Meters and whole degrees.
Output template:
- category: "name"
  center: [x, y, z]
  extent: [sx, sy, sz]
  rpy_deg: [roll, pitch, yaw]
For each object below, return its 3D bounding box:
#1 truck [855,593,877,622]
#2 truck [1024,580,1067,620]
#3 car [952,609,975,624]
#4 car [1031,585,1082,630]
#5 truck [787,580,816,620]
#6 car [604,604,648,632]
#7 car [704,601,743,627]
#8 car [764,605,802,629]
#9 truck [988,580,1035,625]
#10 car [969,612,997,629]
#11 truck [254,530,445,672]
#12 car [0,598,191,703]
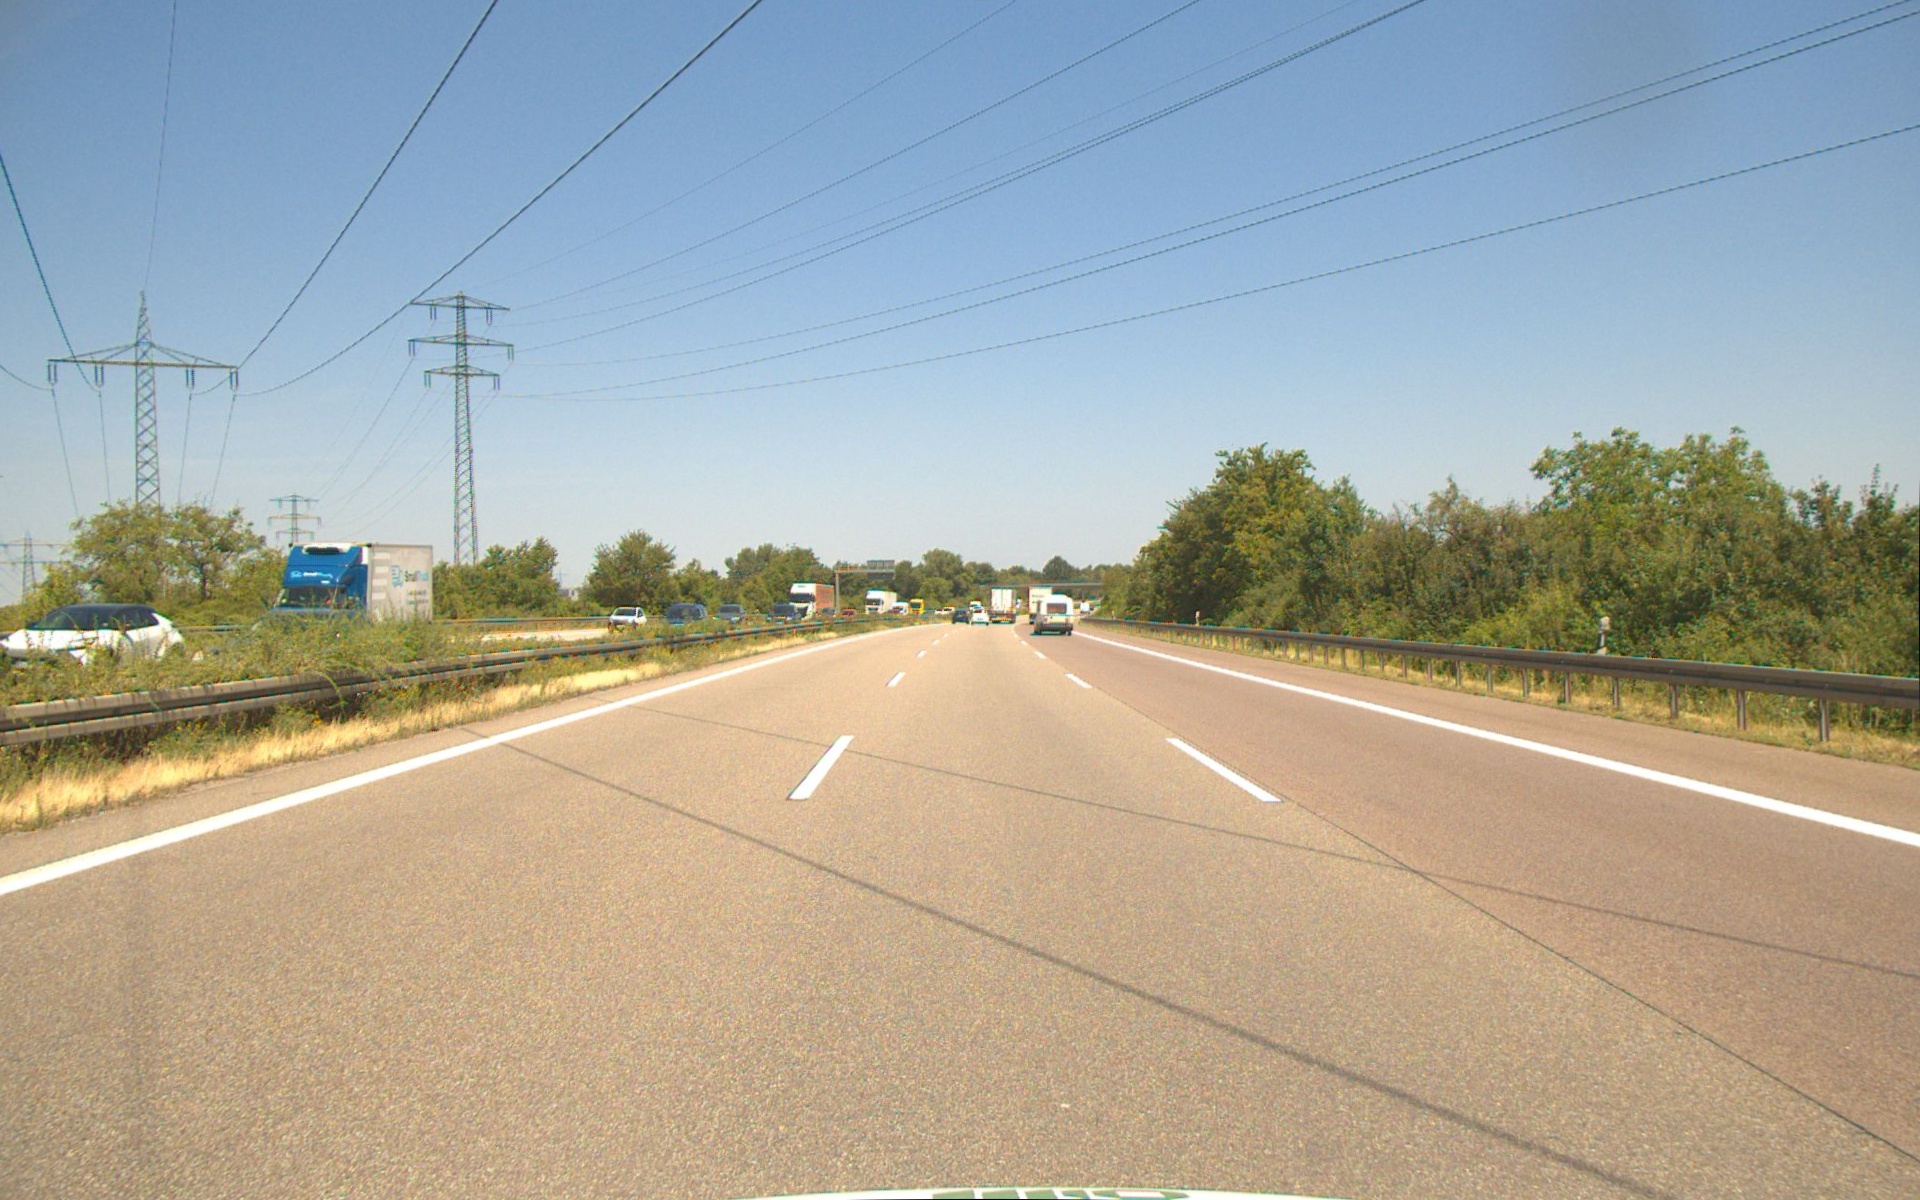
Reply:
- category: "truck"
  center: [-13.577, 1.072, 239.635]
  extent: [2.772, 4.153, 5.167]
  rpy_deg: [0, 0, 2]
- category: "truck"
  center: [9.804, -0.111, 188.638]
  extent: [3.113, 4.379, 16.031]
  rpy_deg: [1, 1, 9]
- category: "car"
  center: [0.389, 1.748, 176.551]
  extent: [1.789, 1.574, 4.322]
  rpy_deg: [1, 0, 9]
- category: "car"
  center: [5.334, 0.363, 92.187]
  extent: [2.393, 2.362, 5.320]
  rpy_deg: [-1, 1, -1]
- category: "truck"
  center: [-16.689, -0.053, 174.156]
  extent: [2.430, 4.089, 4.603]
  rpy_deg: [0, 1, 2]
- category: "car"
  center: [-19.090, 1.038, 94.702]
  extent: [1.631, 1.559, 4.279]
  rpy_deg: [0, 0, 0]
- category: "car"
  center: [-15.658, 0.899, 109.804]
  extent: [1.953, 1.646, 4.411]
  rpy_deg: [0, 1, 0]
- category: "car"
  center: [-11.289, 1.071, 105.973]
  extent: [1.953, 1.460, 4.411]
  rpy_deg: [0, 1, 0]
- category: "truck"
  center: [6.237, 0.207, 197.783]
  extent: [3.588, 5.106, 16.031]
  rpy_deg: [1, 1, 9]
- category: "car"
  center: [2.224, 1.939, 157.250]
  extent: [1.789, 1.574, 4.322]
  rpy_deg: [1, 0, 13]
- category: "truck"
  center: [-19.230, -0.038, 52.852]
  extent: [2.403, 4.045, 9.670]
  rpy_deg: [-2, 1, 0]
- category: "car"
  center: [-15.972, 0.831, 29.706]
  extent: [1.953, 1.646, 5.017]
  rpy_deg: [0, 1, 0]
